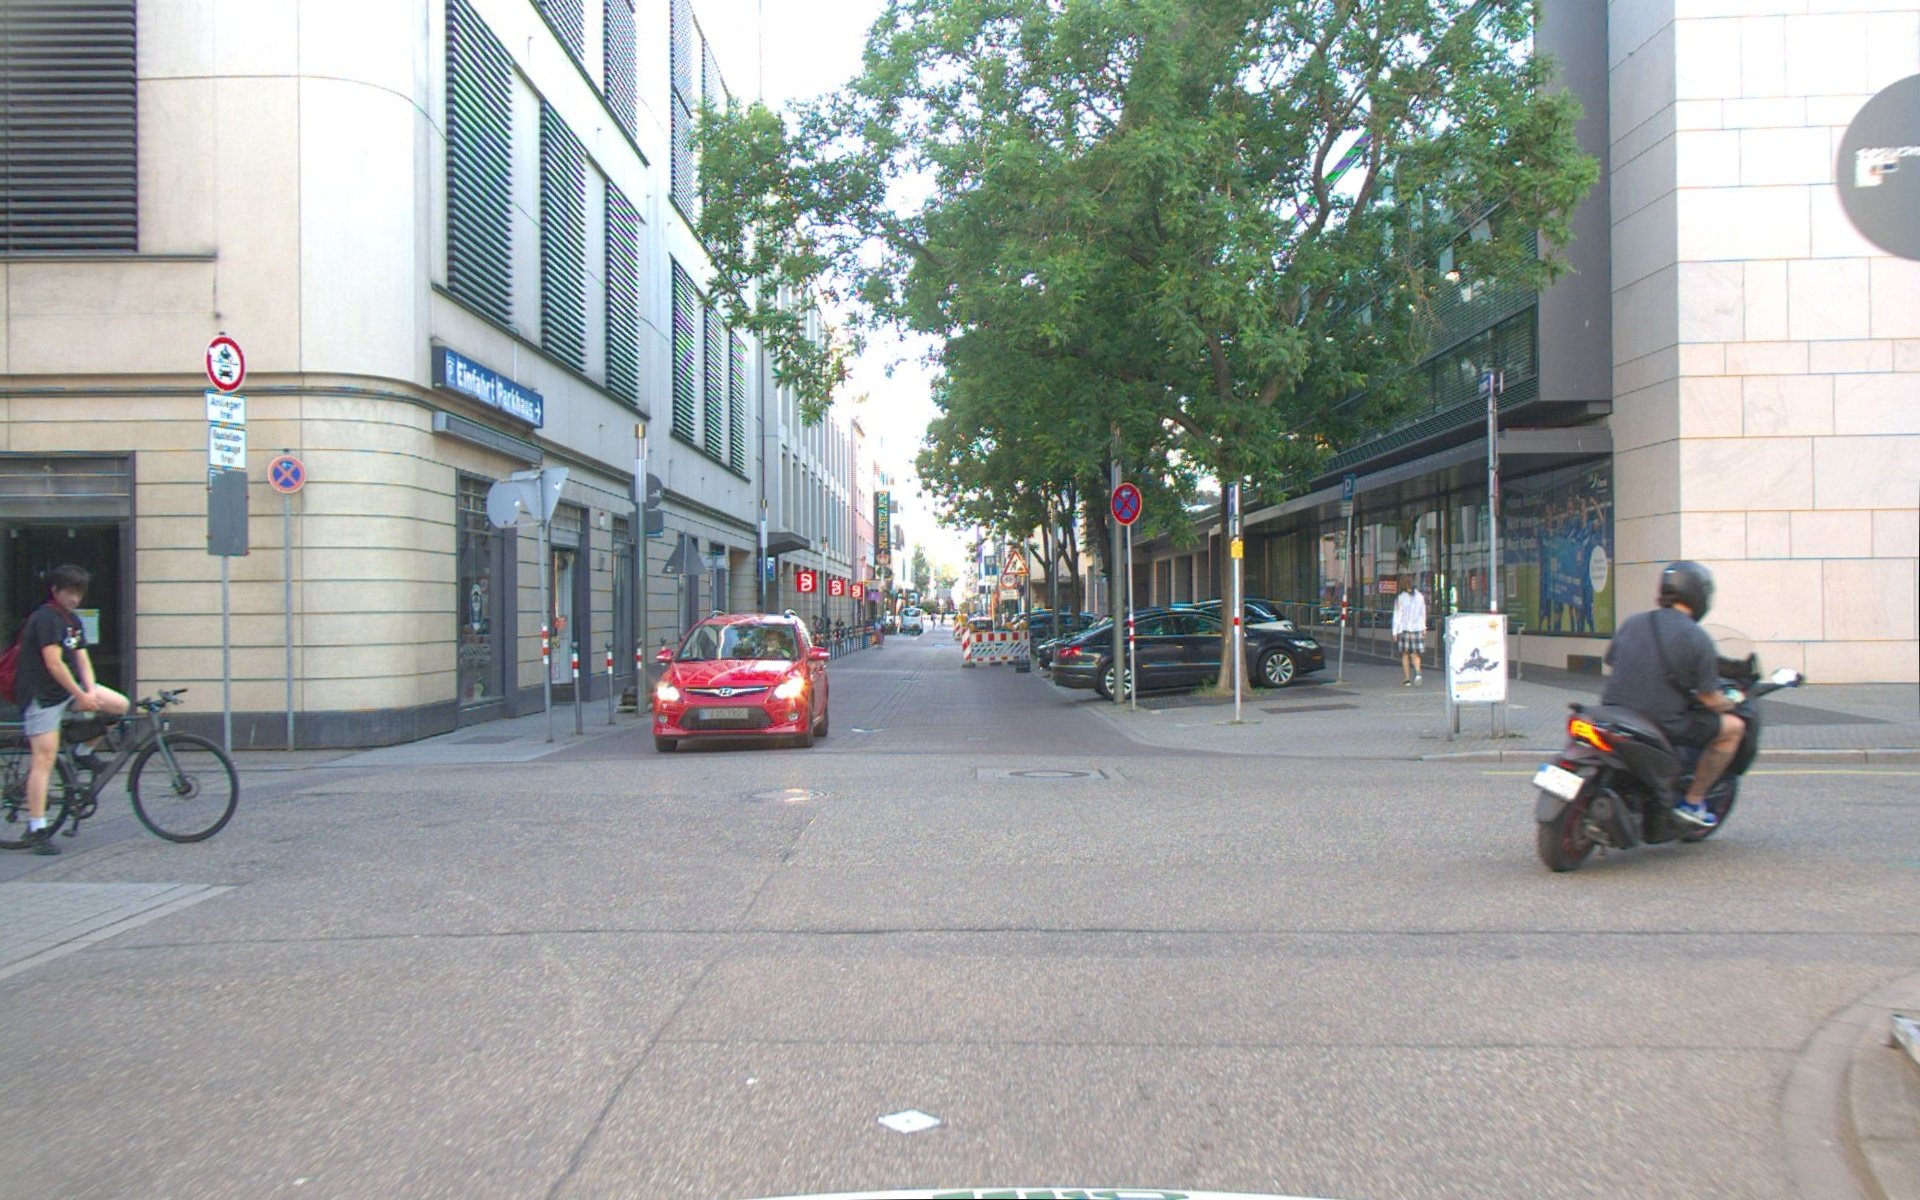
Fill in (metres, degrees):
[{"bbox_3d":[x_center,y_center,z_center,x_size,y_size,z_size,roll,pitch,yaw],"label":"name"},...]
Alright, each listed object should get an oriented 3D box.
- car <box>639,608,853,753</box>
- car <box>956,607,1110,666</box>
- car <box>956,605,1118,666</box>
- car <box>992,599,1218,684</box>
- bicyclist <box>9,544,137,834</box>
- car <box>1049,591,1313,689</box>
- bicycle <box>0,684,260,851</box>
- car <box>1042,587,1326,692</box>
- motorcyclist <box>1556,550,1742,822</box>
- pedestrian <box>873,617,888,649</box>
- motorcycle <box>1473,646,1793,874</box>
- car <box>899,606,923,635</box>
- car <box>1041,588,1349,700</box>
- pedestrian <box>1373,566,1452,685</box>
[{"bbox_3d":[-2.370,0.913,19.344,1.784,1.491,4.264,-1,-2,2],"label":"car"},{"bbox_3d":[2.394,1.216,55.191,4.905,1.525,1.999,-4,-1,-3],"label":"car"},{"bbox_3d":[2.411,1.134,52.777,4.905,1.525,1.999,-4,-1,-3],"label":"car"},{"bbox_3d":[3.294,0.941,38.200,4.905,1.525,1.999,-4,-1,-3],"label":"car"},{"bbox_3d":[-5.550,0.546,10.370,0.540,1.762,0.500,0,-1,-8],"label":"bicyclist"},{"bbox_3d":[4.364,0.802,33.213,4.905,1.525,1.999,-4,-1,-3],"label":"car"},{"bbox_3d":[-5.410,1.034,10.380,1.781,0.991,0.510,0,-1,-9],"label":"bicycle"},{"bbox_3d":[4.112,0.731,30.944,4.905,1.525,1.999,-4,-1,-3],"label":"car"},{"bbox_3d":[3.871,0.466,9.326,0.450,1.452,0.859,1,-2,-35],"label":"motorcyclist"},{"bbox_3d":[-4.032,1.670,83.917,0.717,1.602,0.636,0,-1,0],"label":"pedestrian"},{"bbox_3d":[3.777,0.832,9.240,1.820,1.129,0.864,1,-2,-38],"label":"motorcycle"},{"bbox_3d":[-4.226,1.709,140.803,1.953,2.370,5.018,1,0,-2],"label":"car"},{"bbox_3d":[3.959,0.750,28.458,4.905,1.477,1.999,-4,-1,-3],"label":"car"},{"bbox_3d":[6.910,0.388,25.298,0.886,1.735,0.834,-3,-1,1],"label":"pedestrian"}]
